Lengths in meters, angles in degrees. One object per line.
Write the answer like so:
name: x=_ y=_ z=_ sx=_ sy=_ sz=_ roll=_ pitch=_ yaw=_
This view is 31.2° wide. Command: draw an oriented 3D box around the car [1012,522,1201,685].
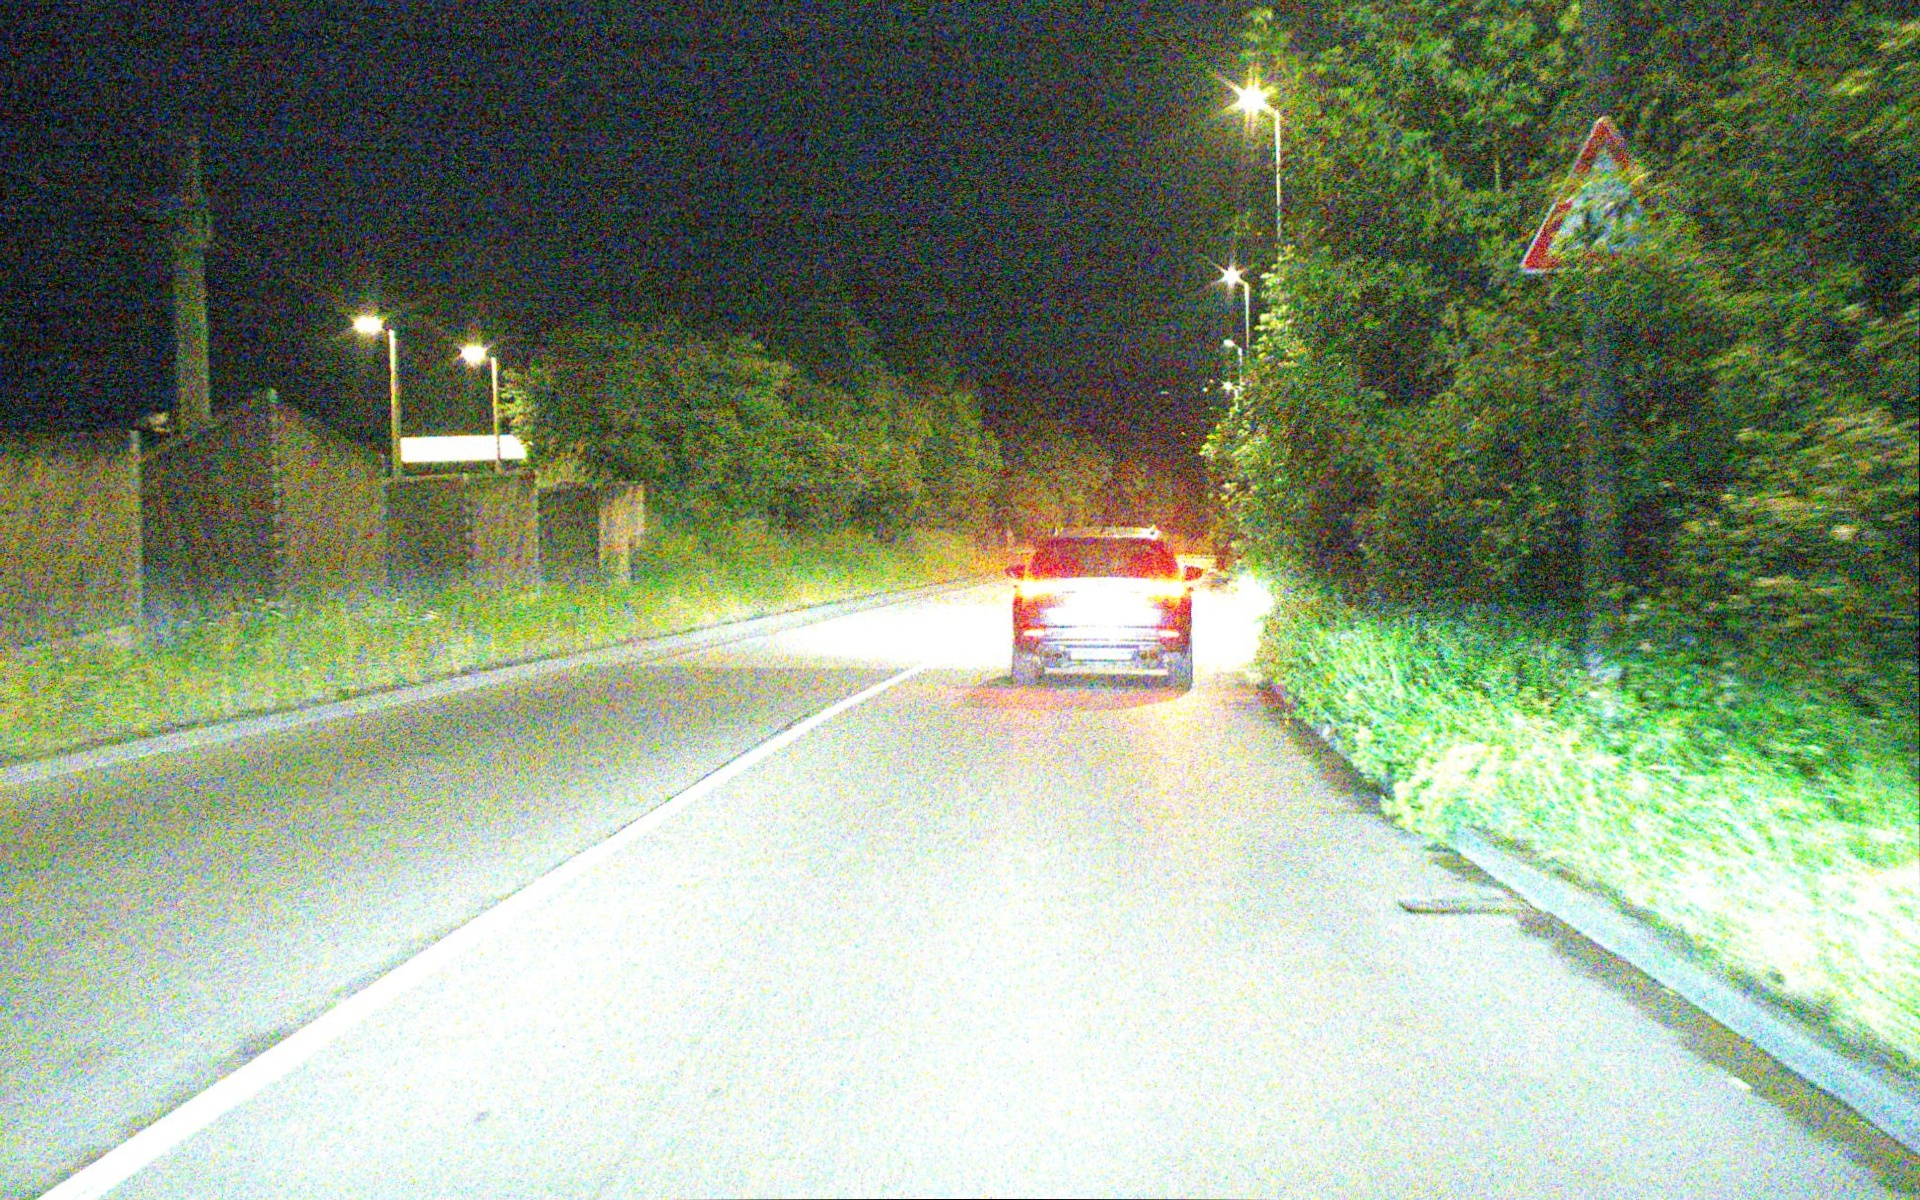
car: x=1.553 y=-0.004 z=35.292 sx=1.815 sy=1.568 sz=3.943 roll=0 pitch=1 yaw=4
